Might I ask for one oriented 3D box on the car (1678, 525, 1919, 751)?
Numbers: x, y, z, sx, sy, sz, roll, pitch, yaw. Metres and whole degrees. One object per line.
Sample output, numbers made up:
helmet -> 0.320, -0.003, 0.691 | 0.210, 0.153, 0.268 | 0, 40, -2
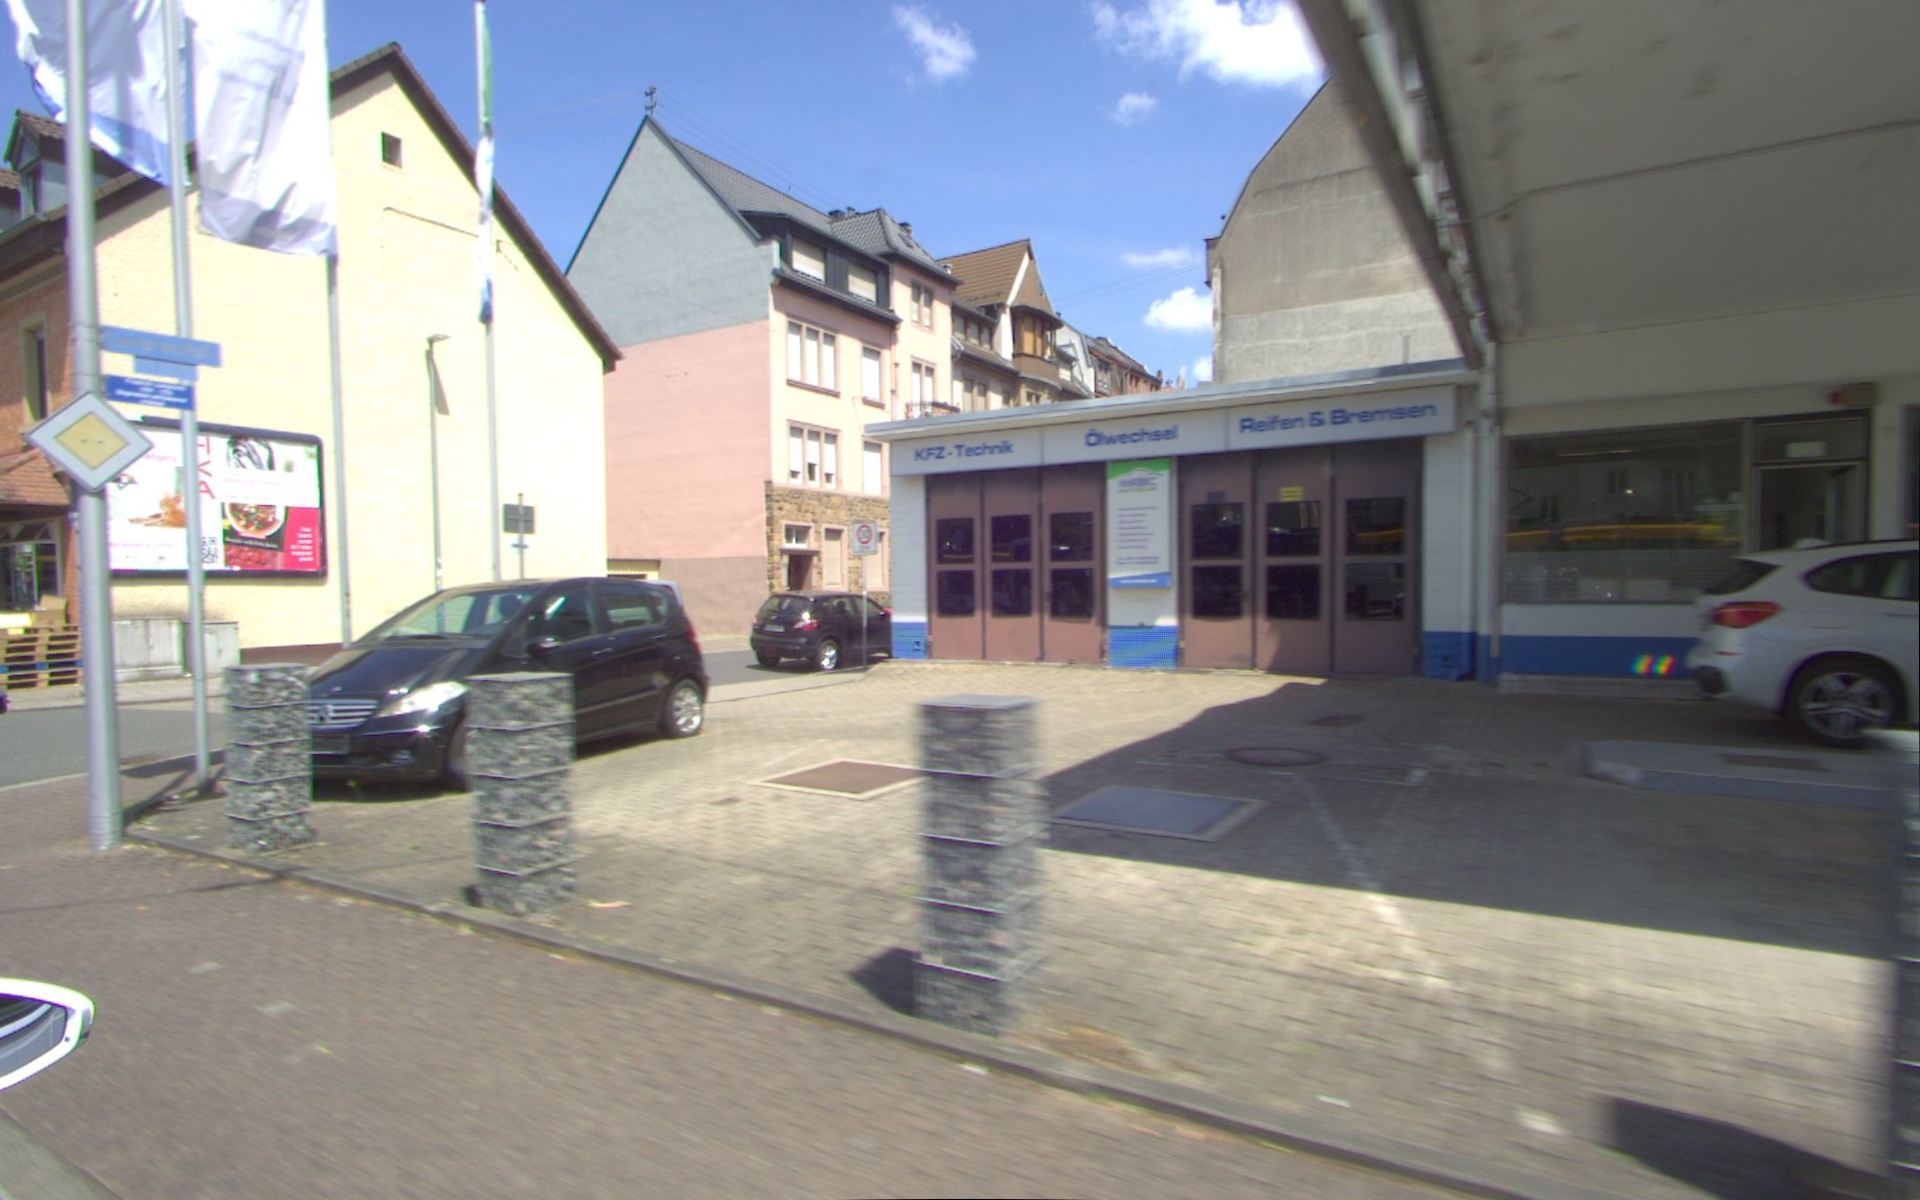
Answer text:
car -> 8.298, 0.264, 7.496 | 4.639, 1.648, 1.742 | 0, 1, 33

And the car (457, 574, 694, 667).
car -> -8.580, 0.399, 22.901 | 1.879, 1.886, 5.048 | -1, 1, 28

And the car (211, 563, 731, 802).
car -> -3.832, 0.536, 8.678 | 1.810, 1.563, 3.880 | -1, 0, 19

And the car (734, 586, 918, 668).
car -> -2.790, 0.521, 21.545 | 1.817, 1.563, 3.865 | -1, 1, 33

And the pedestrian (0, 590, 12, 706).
pedestrian -> -14.349, 0.696, 14.557 | 0.698, 1.664, 0.654 | -2, 4, -38

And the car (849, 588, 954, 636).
car -> -1.946, 0.442, 34.461 | 1.627, 1.527, 3.981 | -1, -2, 31
